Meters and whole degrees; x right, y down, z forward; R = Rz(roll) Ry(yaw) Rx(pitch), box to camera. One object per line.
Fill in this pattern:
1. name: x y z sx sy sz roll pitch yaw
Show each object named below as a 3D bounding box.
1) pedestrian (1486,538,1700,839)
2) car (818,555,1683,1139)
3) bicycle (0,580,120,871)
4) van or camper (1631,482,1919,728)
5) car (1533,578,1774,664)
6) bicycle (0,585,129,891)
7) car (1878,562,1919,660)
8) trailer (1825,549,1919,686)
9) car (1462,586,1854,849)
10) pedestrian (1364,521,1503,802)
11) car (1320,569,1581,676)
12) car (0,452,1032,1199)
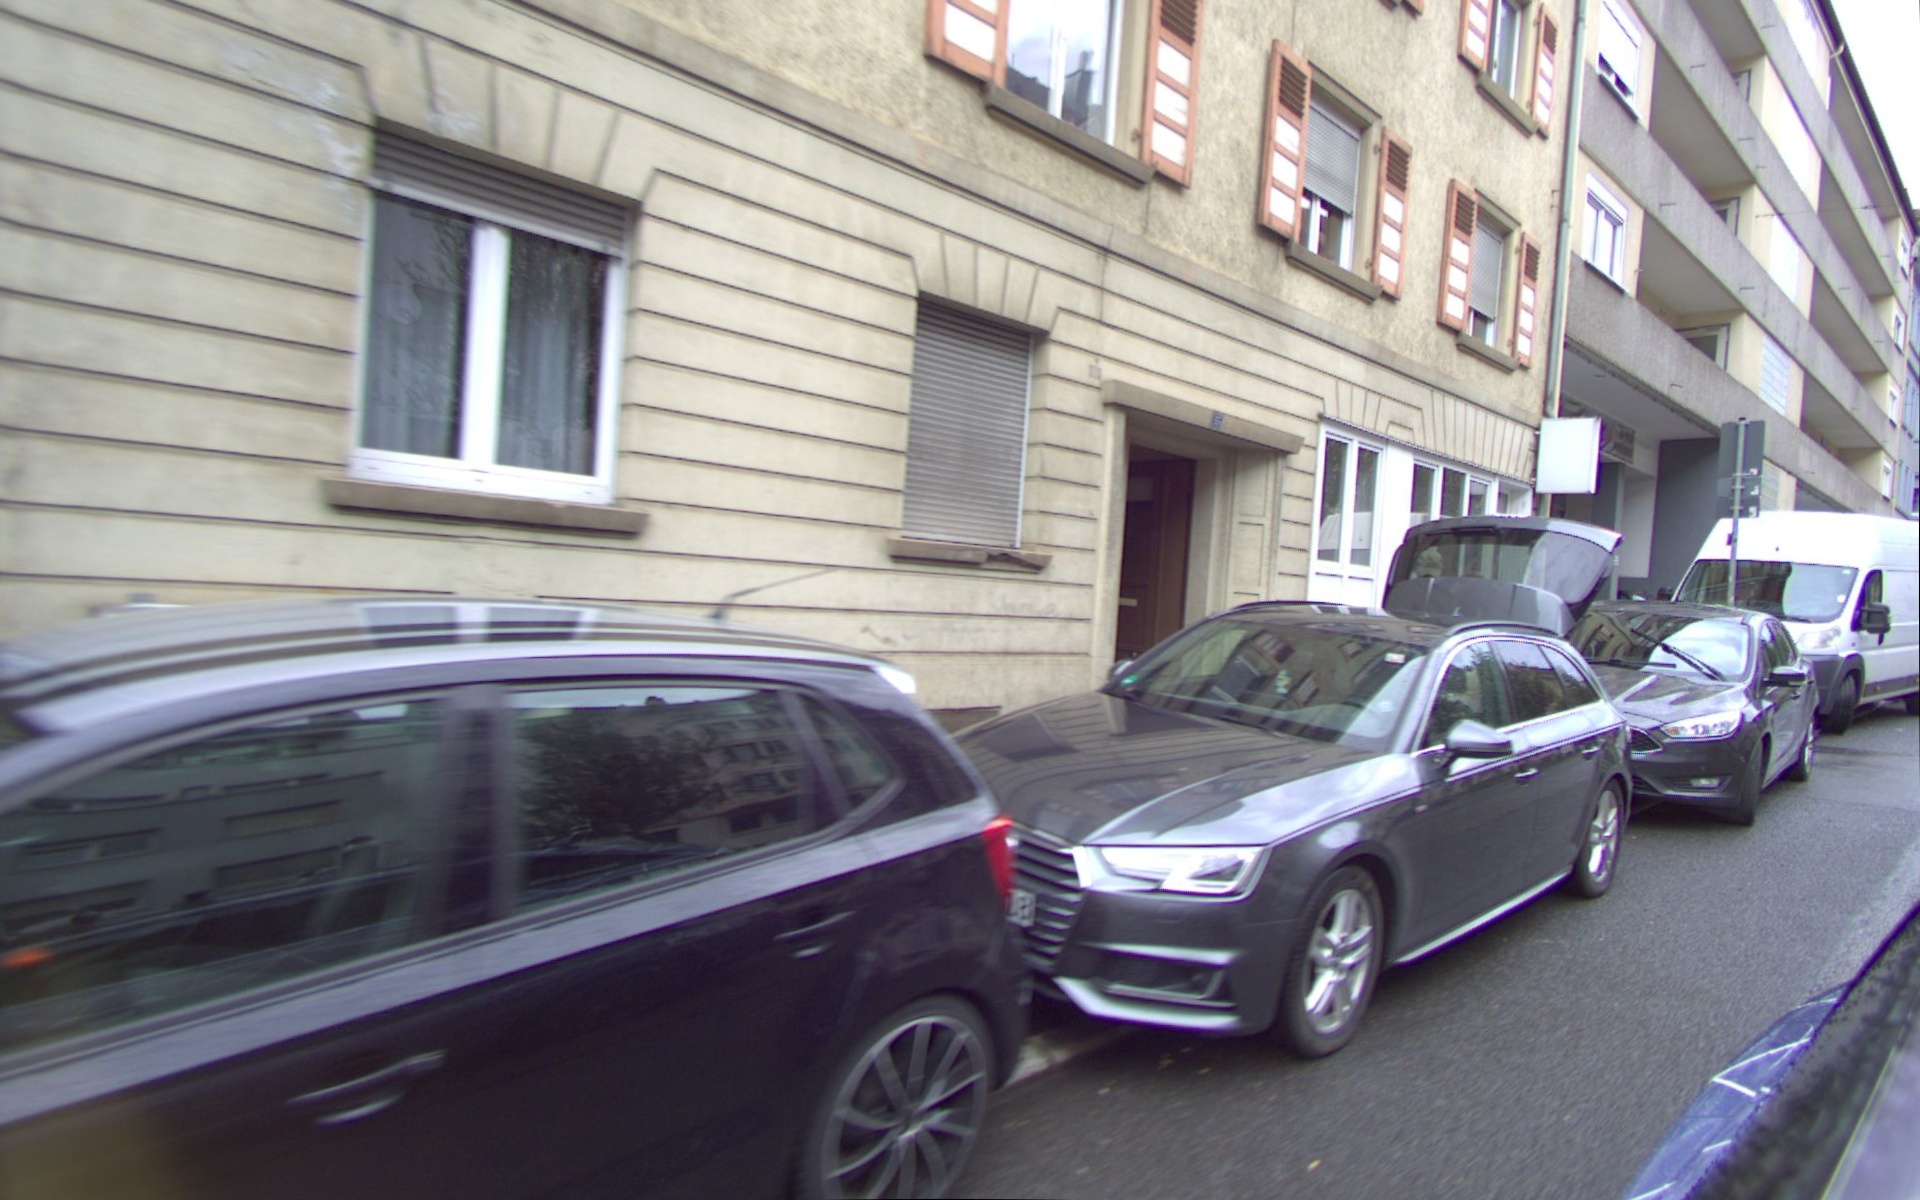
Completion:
1. pedestrian: 3.891 0.523 6.290 0.623 1.708 0.634 5 8 -3
2. car: 1.724 0.612 4.829 4.508 1.497 1.781 0 4 -41
3. bicycle: -4.207 0.481 3.448 2.069 1.086 0.248 -1 5 -41
4. van or camper: 11.916 0.033 13.956 6.297 2.732 2.193 1 3 -35
5. car: 15.017 0.385 22.114 1.530 1.408 3.999 1 5 -39
6. bicycle: -4.028 0.503 3.274 2.069 1.086 0.248 -1 5 -41
7. car: 23.944 0.303 24.290 5.415 2.175 2.158 0 4 -42
8. trailer: 17.522 0.364 18.152 4.979 2.178 2.000 2 4 -39
9. car: 5.783 0.681 8.166 4.121 1.497 1.780 -1 4 -44
10. pedestrian: 3.261 0.381 7.045 0.678 1.808 0.709 4 4 20
11. car: 8.541 0.344 17.802 3.656 1.408 1.867 8 4 45
12. car: -1.712 0.560 1.872 3.672 1.497 1.634 0 0 -43
